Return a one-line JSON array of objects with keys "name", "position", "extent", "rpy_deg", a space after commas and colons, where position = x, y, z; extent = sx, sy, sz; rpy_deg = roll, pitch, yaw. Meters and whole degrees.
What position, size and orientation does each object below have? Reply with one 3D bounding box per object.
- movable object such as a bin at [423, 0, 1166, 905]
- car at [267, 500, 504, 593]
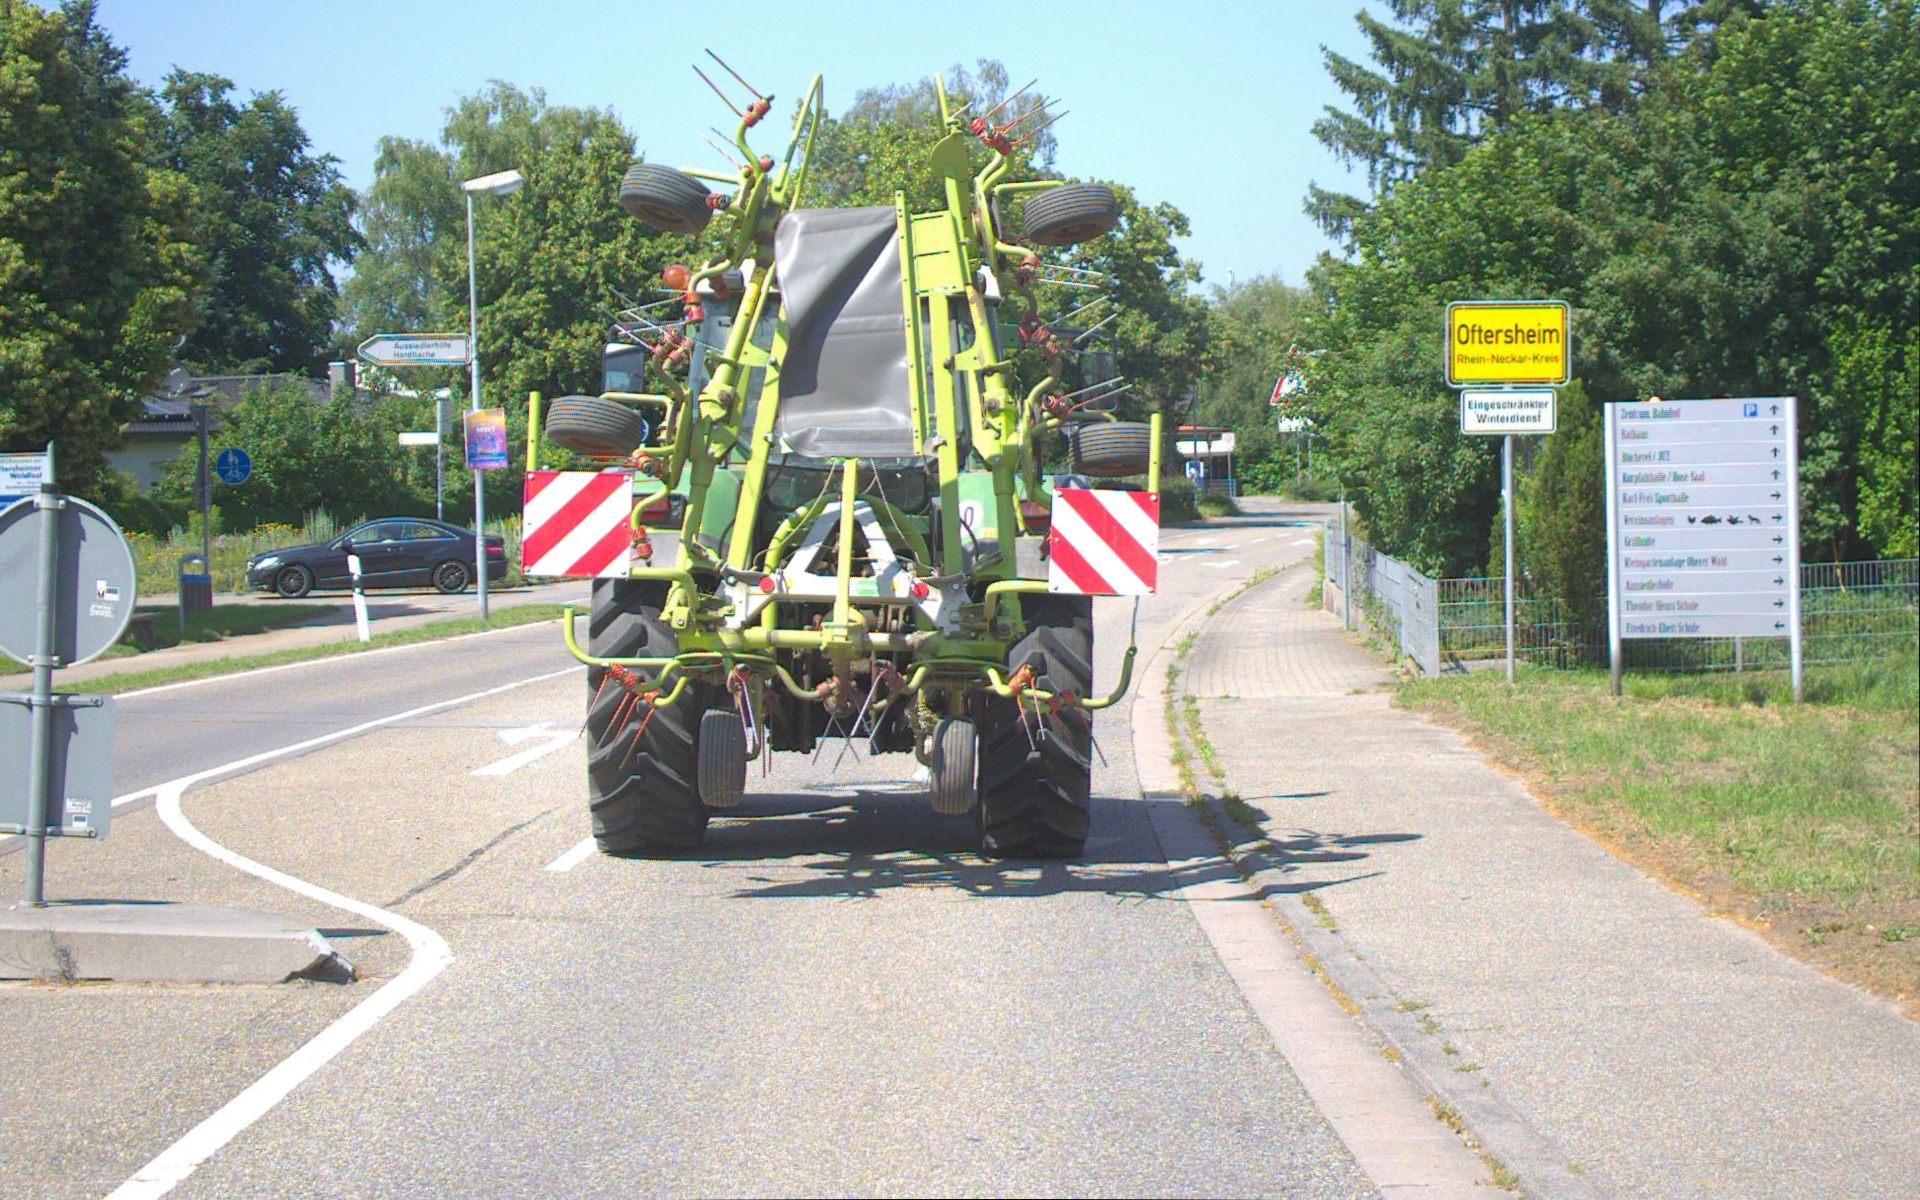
[{"name": "movable object such as a bin", "position": [-0.634, -0.710, 18.174], "extent": [2.853, 3.529, 9.701], "rpy_deg": [0, 1, 0]}, {"name": "car", "position": [-10.305, -0.975, 61.869], "extent": [4.086, 1.514, 2.001], "rpy_deg": [-2, 1, -8]}]
